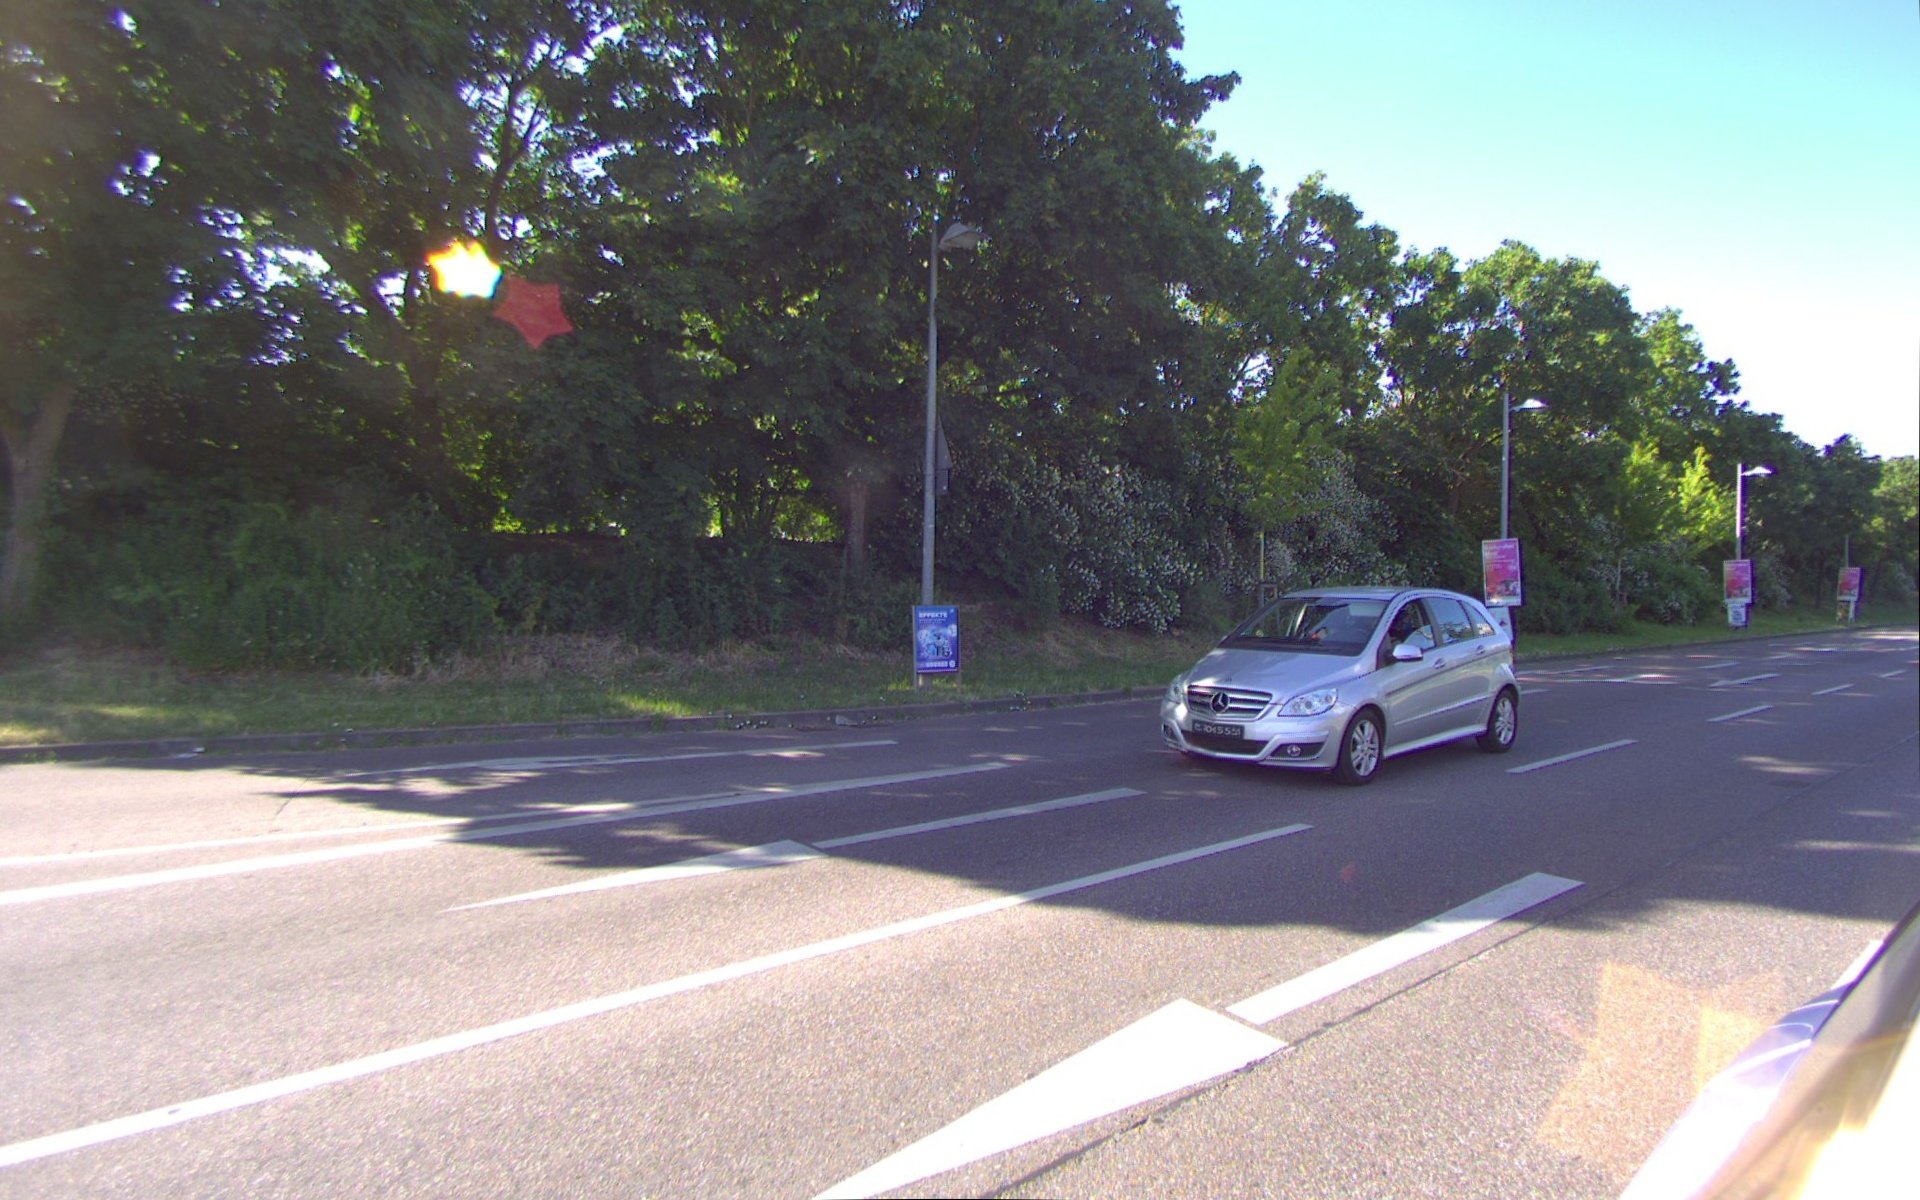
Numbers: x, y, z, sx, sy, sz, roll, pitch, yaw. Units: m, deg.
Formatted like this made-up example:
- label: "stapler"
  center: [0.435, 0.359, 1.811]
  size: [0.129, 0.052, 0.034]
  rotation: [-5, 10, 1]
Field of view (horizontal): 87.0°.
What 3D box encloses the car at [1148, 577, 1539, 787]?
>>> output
- label: "car"
  center: [3.702, 0.588, 9.443]
  size: [3.988, 1.559, 1.672]
  rotation: [0, 1, -40]
